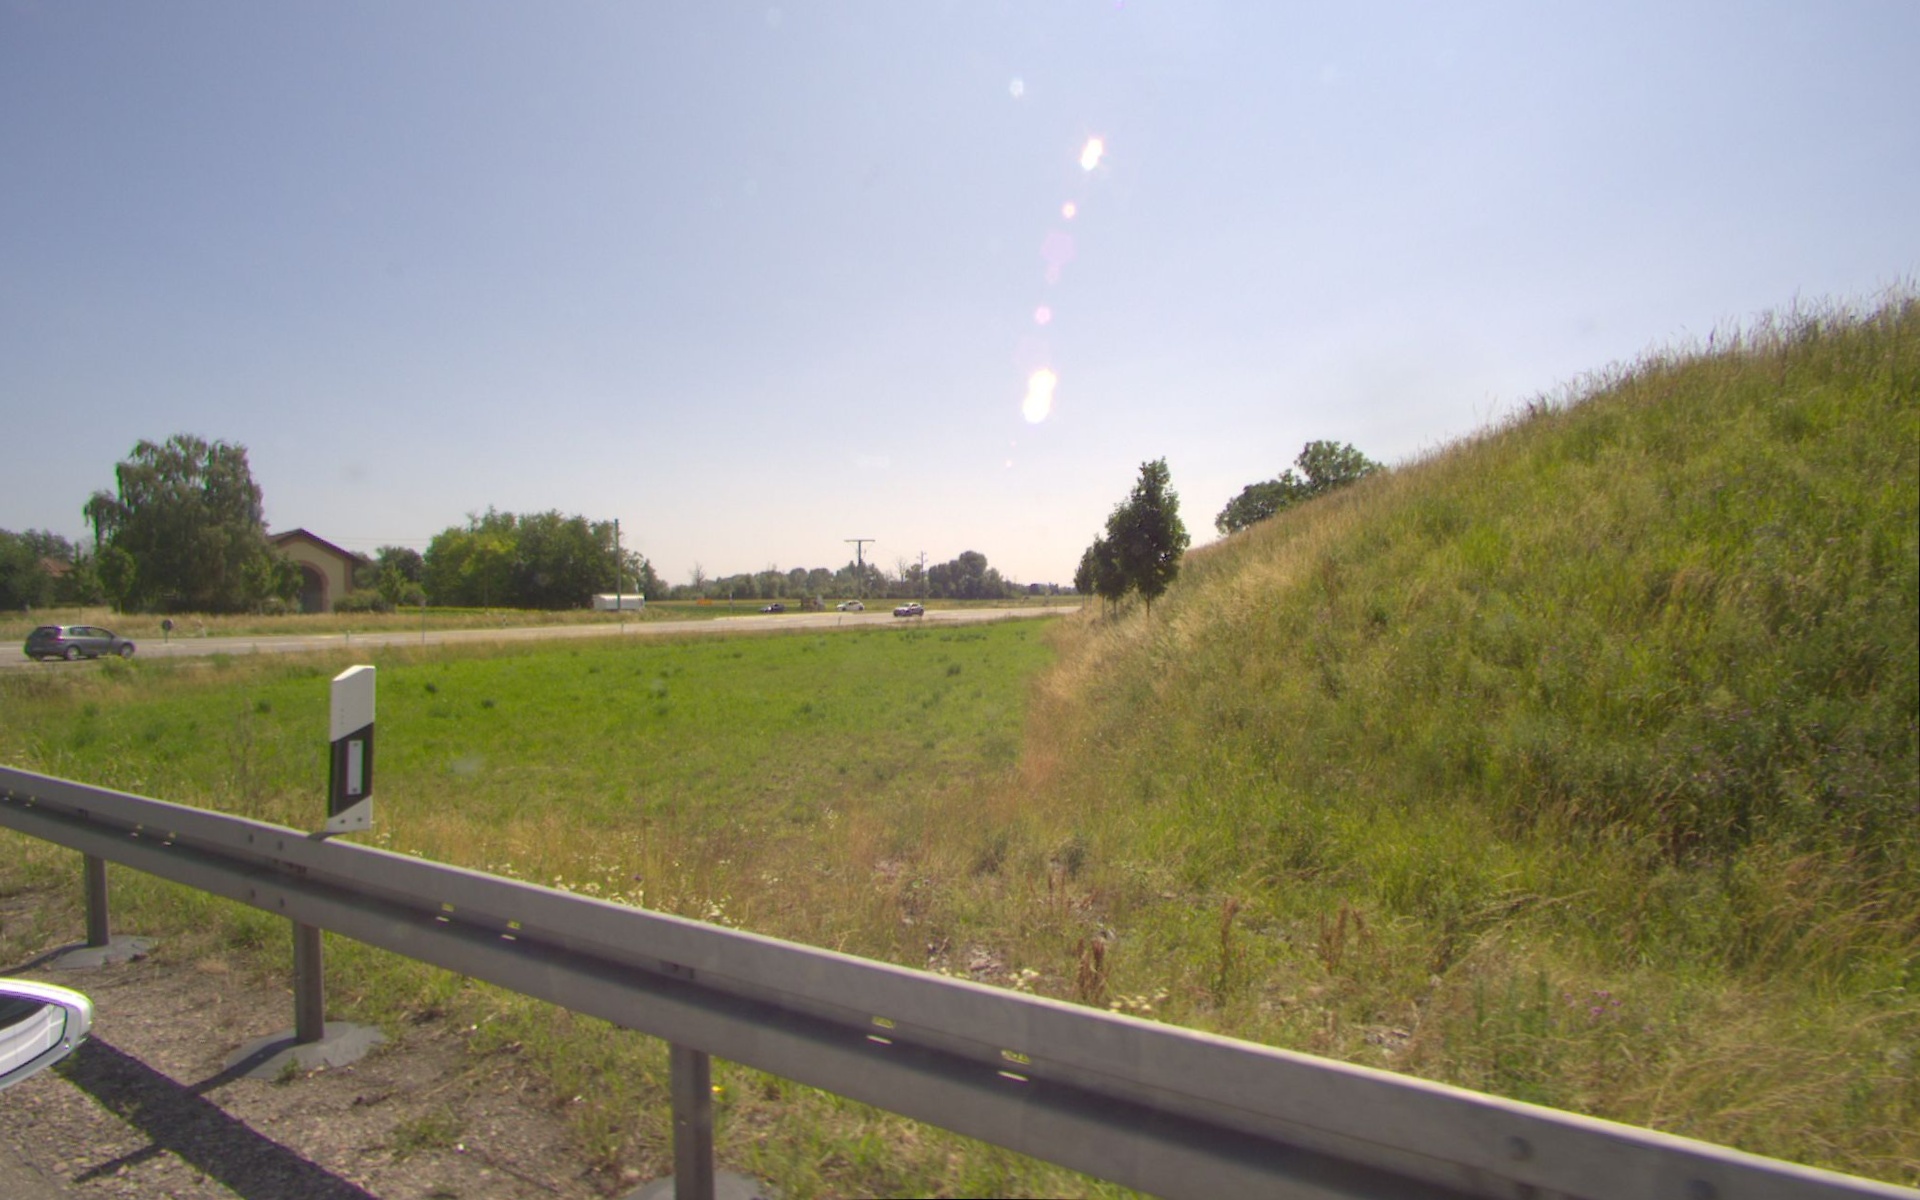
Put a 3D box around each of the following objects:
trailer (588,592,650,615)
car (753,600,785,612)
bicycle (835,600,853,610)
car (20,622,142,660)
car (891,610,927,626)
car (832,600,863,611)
[{"bbox_3d":[-38.469,0.385,113.077,2.651,2.489,6.340,2,2,36],"label":"trailer"},{"bbox_3d":[-24.238,0.780,127.212,1.659,1.406,3.809,2,1,40],"label":"car"},{"bbox_3d":[-17.512,0.721,151.667,2.572,1.389,0.900,-1,-2,22],"label":"bicycle"},{"bbox_3d":[-37.855,1.747,43.251,1.770,1.541,3.883,0,-1,2],"label":"car"},{"bbox_3d":[-5.760,2.035,114.297,1.845,1.565,4.525,1,1,33],"label":"car"},{"bbox_3d":[-15.373,0.783,137.054,3.969,1.350,1.691,1,1,-21],"label":"car"}]
